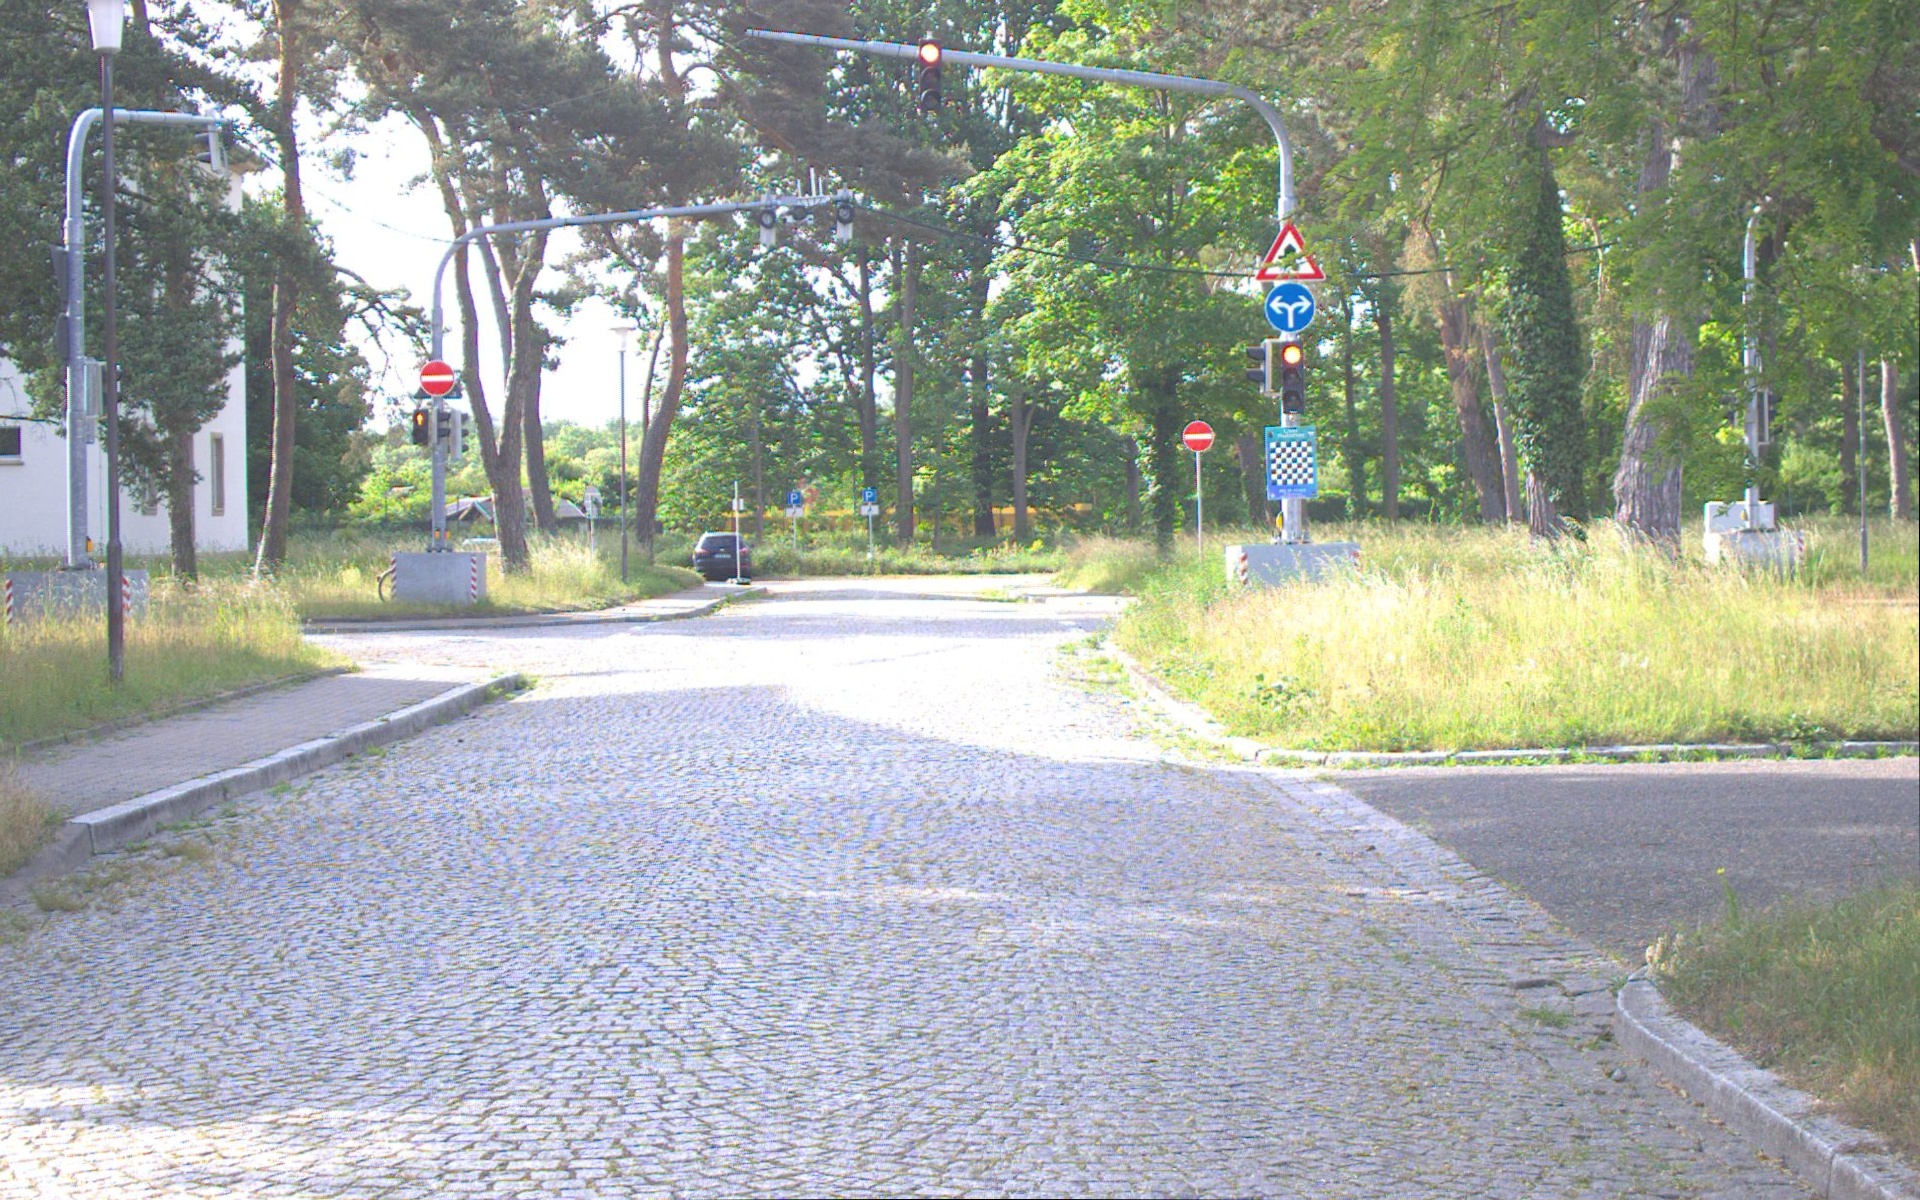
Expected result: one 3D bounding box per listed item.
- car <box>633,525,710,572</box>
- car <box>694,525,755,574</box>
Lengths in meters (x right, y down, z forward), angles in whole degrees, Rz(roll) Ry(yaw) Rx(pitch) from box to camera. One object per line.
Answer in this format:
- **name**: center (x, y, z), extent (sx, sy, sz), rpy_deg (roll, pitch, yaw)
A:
- **car**: center (-9.493, -1.714, 113.361), extent (1.783, 1.485, 3.754), rpy_deg (-1, 1, 7)
- **car**: center (-7.407, -1.608, 108.511), extent (1.844, 1.481, 4.001), rpy_deg (-1, 1, -3)
